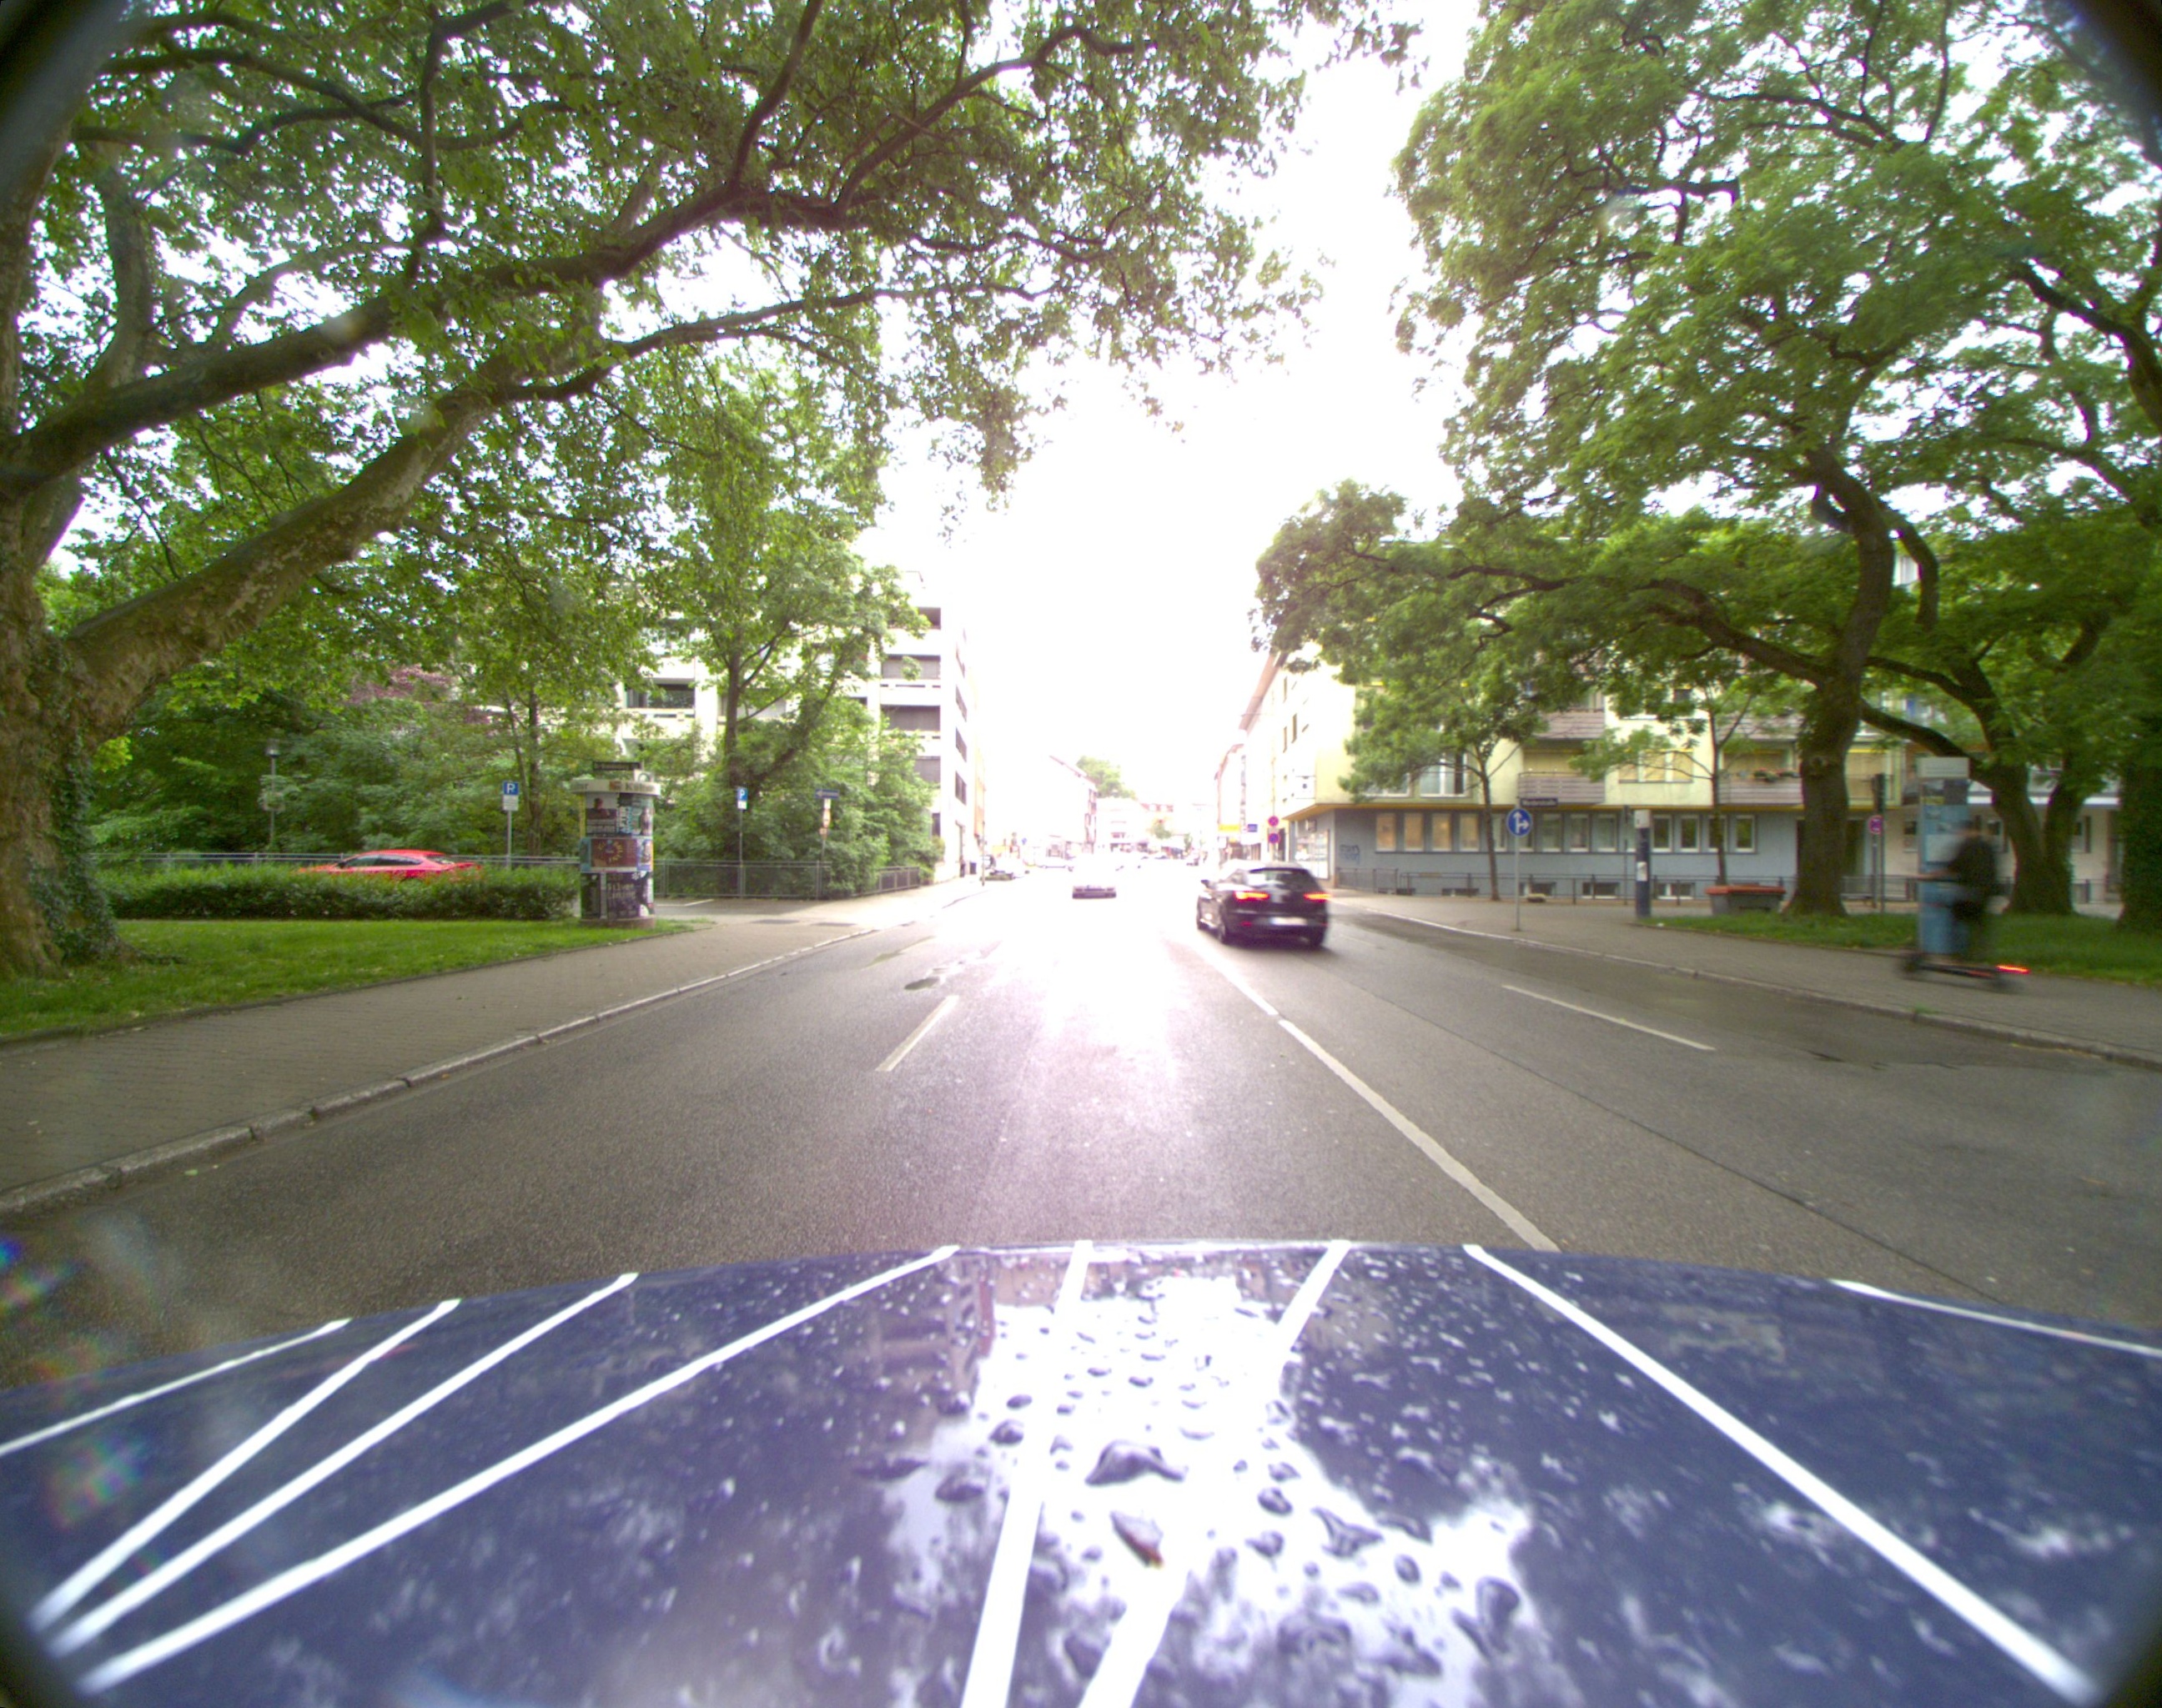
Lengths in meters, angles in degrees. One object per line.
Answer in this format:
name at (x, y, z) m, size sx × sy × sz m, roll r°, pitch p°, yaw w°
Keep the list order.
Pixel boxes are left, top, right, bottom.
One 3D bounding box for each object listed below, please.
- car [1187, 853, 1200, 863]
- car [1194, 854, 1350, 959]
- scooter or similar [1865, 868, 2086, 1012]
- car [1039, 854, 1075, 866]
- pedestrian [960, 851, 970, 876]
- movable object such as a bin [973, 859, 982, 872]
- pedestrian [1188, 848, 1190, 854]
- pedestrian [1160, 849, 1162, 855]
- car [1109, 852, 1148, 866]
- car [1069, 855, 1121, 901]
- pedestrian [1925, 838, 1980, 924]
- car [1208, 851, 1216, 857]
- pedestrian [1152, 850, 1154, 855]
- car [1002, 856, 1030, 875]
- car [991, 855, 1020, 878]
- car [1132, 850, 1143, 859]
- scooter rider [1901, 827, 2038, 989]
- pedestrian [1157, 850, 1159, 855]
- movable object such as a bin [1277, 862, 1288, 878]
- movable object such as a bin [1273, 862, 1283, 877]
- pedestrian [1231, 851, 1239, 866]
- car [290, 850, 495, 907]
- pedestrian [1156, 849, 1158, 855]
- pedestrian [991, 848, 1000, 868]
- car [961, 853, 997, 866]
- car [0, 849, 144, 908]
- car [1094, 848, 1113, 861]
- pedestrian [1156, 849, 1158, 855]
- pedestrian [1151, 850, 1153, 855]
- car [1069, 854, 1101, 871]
car at (17.972, 0.676, 121.382) m, size 1.834 × 1.612 × 4.003 m, roll 0°, pitch 0°, yaw 10°
car at (3.293, 0.822, 13.928) m, size 1.850 × 1.616 × 4.138 m, roll 1°, pitch 0°, yaw 1°
scooter or similar at (9.978, 0.906, 8.566) m, size 0.816 × 1.437 × 1.398 m, roll 0°, pitch 1°, yaw 0°
car at (-2.915, 0.726, 93.622) m, size 4.464 × 1.377 × 1.475 m, roll 0°, pitch 0°, yaw -1°
pedestrian at (-7.992, 0.645, 52.485) m, size 0.599 × 1.650 × 0.691 m, roll 3°, pitch 0°, yaw -7°
movable object such as a bin at (-8.602, 0.936, 62.870) m, size 0.681 × 1.097 × 0.514 m, roll 0°, pitch 1°, yaw -1°
pedestrian at (24.800, -0.622, 173.835) m, size 0.400 × 1.283 × 0.380 m, roll 0°, pitch 1°, yaw 1°
pedestrian at (18.897, -0.429, 178.762) m, size 0.379 × 1.283 × 0.401 m, roll 1°, pitch 1°, yaw 39°
car at (5.969, 0.631, 95.106) m, size 4.699 × 1.559 × 1.754 m, roll -2°, pitch 0°, yaw -32°
car at (0.519, 0.860, 28.782) m, size 1.756 × 1.559 × 4.000 m, roll -2°, pitch 0°, yaw 1°
pedestrian at (20.923, 0.623, 18.259) m, size 0.780 × 2.002 × 0.754 m, roll 1°, pitch 1°, yaw 43°
car at (33.326, -0.037, 193.468) m, size 1.591 × 1.518 × 3.491 m, roll 0°, pitch 0°, yaw 14°
pedestrian at (17.485, -0.421, 184.498) m, size 0.379 × 1.283 × 0.401 m, roll 0°, pitch 1°, yaw 38°
car at (-5.127, 0.882, 60.377) m, size 1.835 × 1.412 × 4.569 m, roll 1°, pitch 0°, yaw -1°
car at (-5.314, 0.871, 53.638) m, size 1.706 × 1.549 × 3.804 m, roll 1°, pitch 0°, yaw -1°
car at (11.782, 0.136, 158.533) m, size 2.043 × 1.754 × 4.573 m, roll 1°, pitch 0°, yaw 9°
scooter rider at (9.971, 0.581, 8.554) m, size 0.735 × 1.756 × 0.645 m, roll 0°, pitch 2°, yaw 2°
pedestrian at (18.115, -0.393, 178.990) m, size 0.379 × 1.283 × 0.401 m, roll 1°, pitch 1°, yaw 40°
movable object such as a bin at (12.813, 1.018, 48.271) m, size 0.529 × 0.955 × 0.435 m, roll -4°, pitch 0°, yaw 8°
movable object such as a bin at (12.767, 1.009, 49.326) m, size 0.529 × 0.922 × 0.426 m, roll -4°, pitch 0°, yaw 8°
pedestrian at (16.806, 0.456, 82.864) m, size 0.785 × 1.578 × 0.674 m, roll -2°, pitch 0°, yaw 21°
car at (-19.554, 0.672, 21.756) m, size 3.999 × 1.473 × 1.875 m, roll 1°, pitch 1°, yaw -5°
pedestrian at (18.498, -0.473, 185.620) m, size 0.379 × 1.283 × 0.401 m, roll 1°, pitch 1°, yaw 39°
pedestrian at (-9.346, 0.467, 83.210) m, size 0.806 × 2.140 × 0.737 m, roll 0°, pitch 1°, yaw -23°
car at (-12.559, 0.647, 93.718) m, size 4.157 × 1.576 × 1.801 m, roll 1°, pitch 0°, yaw -1°
car at (-29.533, 0.666, 21.407) m, size 3.932 × 1.561 × 1.735 m, roll 1°, pitch 0°, yaw -4°
car at (3.400, 0.083, 112.585) m, size 2.015 × 1.754 × 4.767 m, roll 1°, pitch 0°, yaw 12°
pedestrian at (18.387, -0.445, 183.139) m, size 0.379 × 1.283 × 0.401 m, roll 0°, pitch 1°, yaw 38°
pedestrian at (16.800, -0.353, 180.231) m, size 0.379 × 1.283 × 0.401 m, roll 1°, pitch 1°, yaw 39°
car at (0.365, 0.772, 72.506) m, size 1.803 × 1.575 × 4.153 m, roll 1°, pitch 0°, yaw -19°
